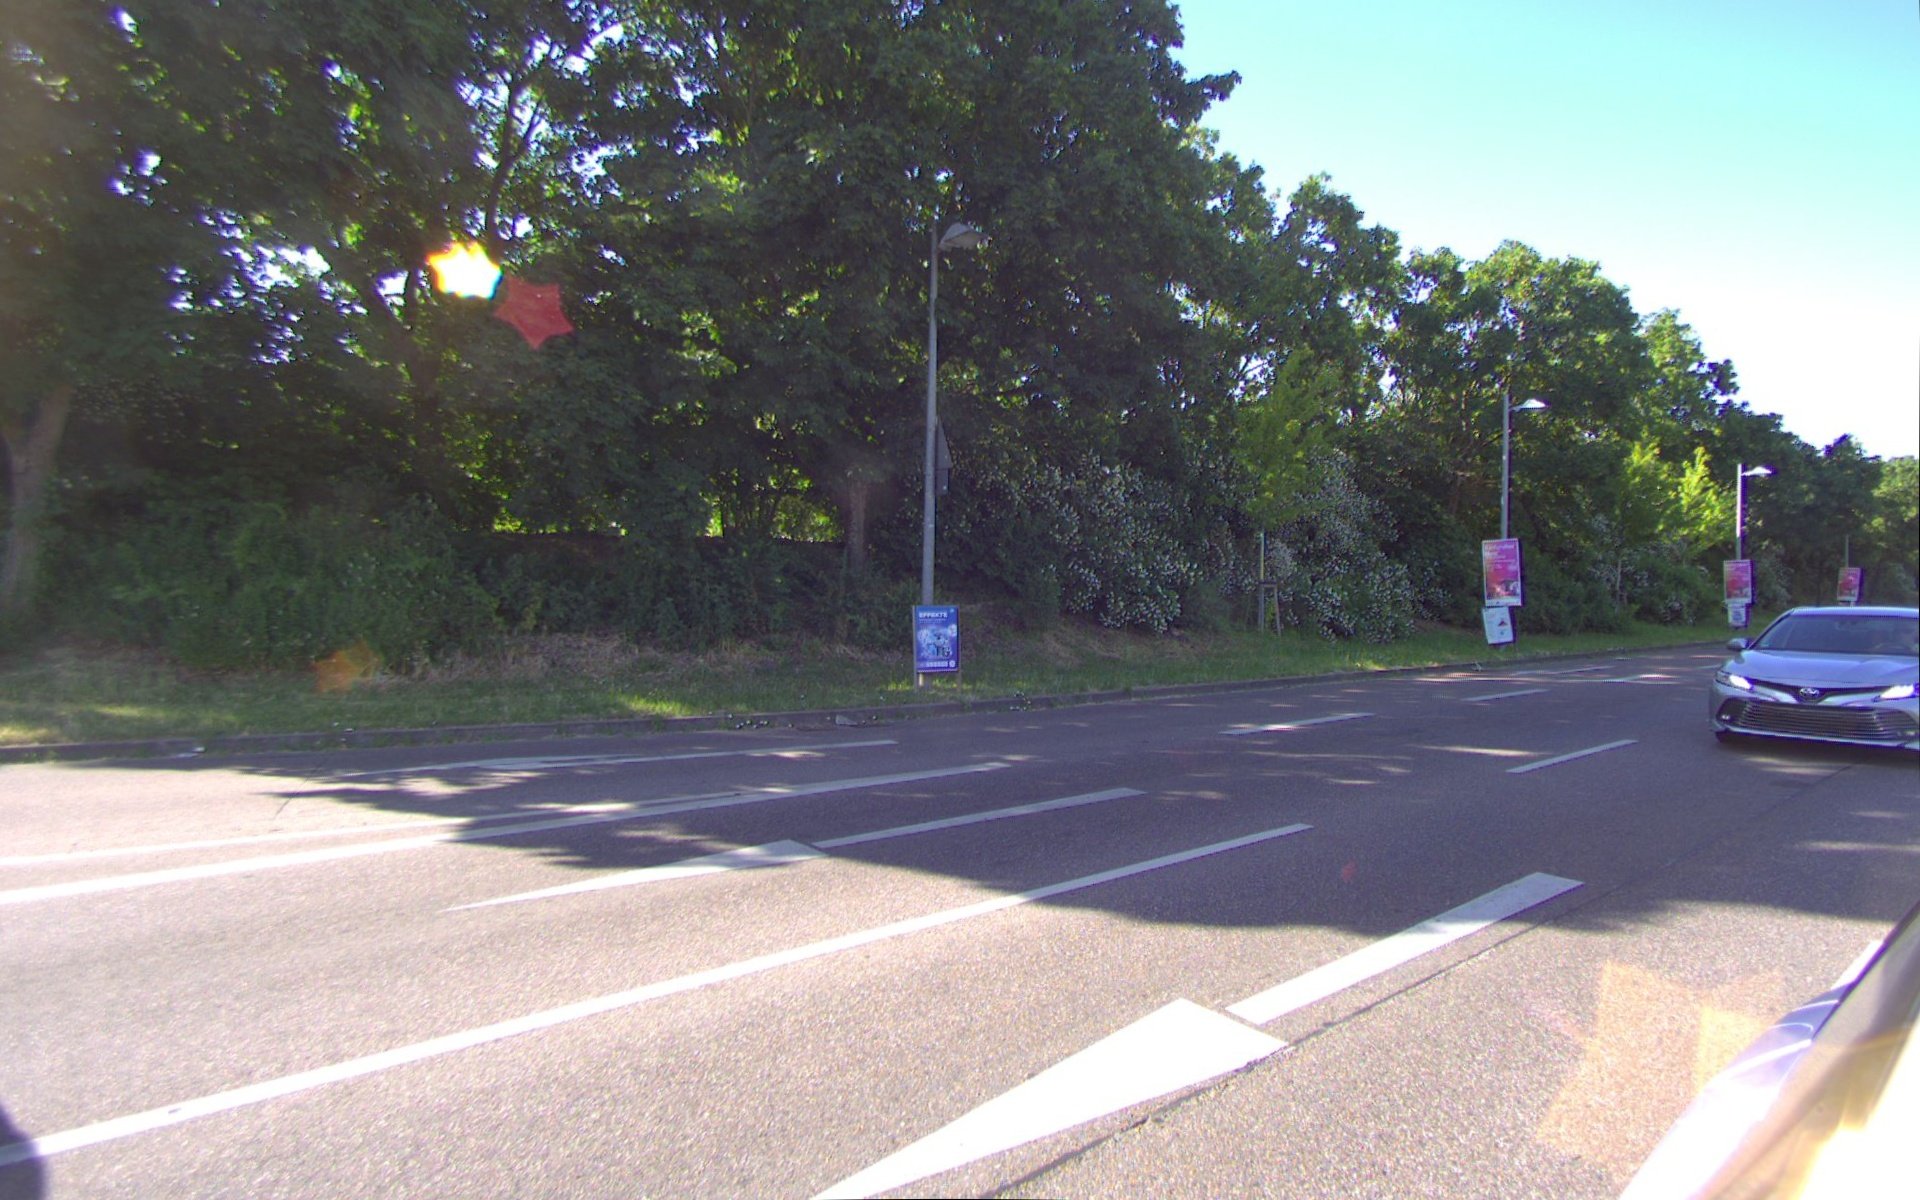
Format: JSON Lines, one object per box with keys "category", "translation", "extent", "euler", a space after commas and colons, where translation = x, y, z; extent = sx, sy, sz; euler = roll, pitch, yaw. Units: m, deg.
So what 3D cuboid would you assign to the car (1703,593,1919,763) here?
{"category": "car", "translation": [9.739, 0.676, 10.796], "extent": [4.512, 1.454, 1.875], "euler": [0, 1, -40]}
